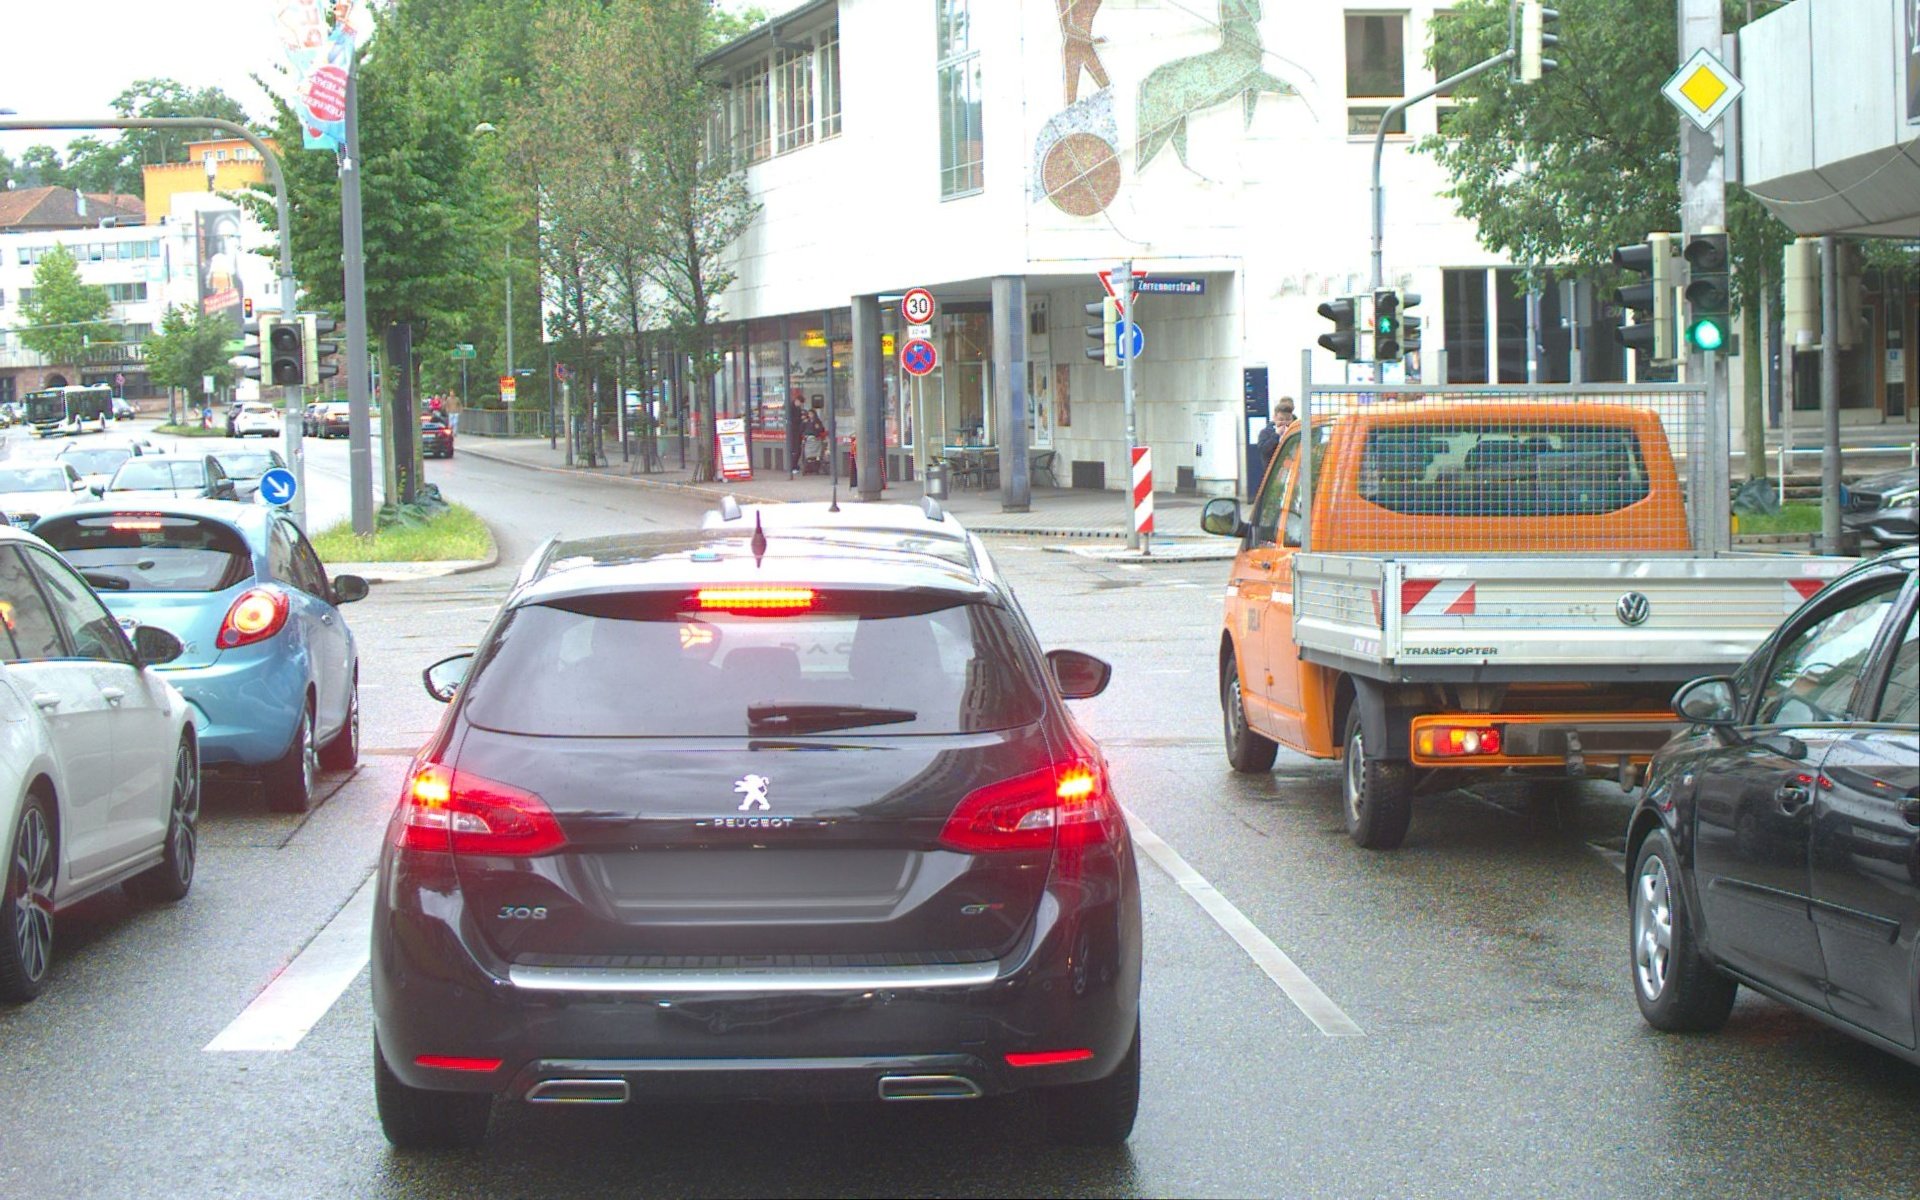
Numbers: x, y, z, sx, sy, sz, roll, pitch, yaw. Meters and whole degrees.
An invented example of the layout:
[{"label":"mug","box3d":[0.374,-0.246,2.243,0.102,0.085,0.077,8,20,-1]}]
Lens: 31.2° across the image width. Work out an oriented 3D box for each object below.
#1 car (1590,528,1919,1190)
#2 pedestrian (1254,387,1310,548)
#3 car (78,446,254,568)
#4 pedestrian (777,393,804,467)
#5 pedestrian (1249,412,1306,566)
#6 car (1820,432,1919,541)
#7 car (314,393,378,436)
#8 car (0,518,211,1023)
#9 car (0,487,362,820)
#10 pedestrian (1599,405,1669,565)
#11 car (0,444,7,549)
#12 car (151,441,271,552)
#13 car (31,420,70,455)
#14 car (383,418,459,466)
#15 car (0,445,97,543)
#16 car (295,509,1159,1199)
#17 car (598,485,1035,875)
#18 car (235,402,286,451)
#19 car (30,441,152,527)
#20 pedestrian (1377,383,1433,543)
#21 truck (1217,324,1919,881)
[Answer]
[{"label":"car","box3d":[2.860,0.558,8.656,1.616,1.424,3.843,0,2,-3]},{"label":"pedestrian","box3d":[3.848,-1.575,41.029,0.637,1.891,0.733,0,0,6]},{"label":"car","box3d":[-11.020,-1.260,47.931,1.744,1.574,4.000,1,0,-4]},{"label":"pedestrian","box3d":[-4.081,-4.096,82.766,0.468,1.742,0.541,1,0,-21]},{"label":"pedestrian","box3d":[3.658,-1.273,39.603,0.637,1.752,0.733,0,0,6]},{"label":"car","box3d":[12.127,-1.306,40.300,3.688,1.208,1.835,1,0,4]},{"label":"car","box3d":[-25.140,-7.590,140.739,1.724,1.485,4.734,1,0,-21]},{"label":"car","box3d":[-3.725,0.453,11.454,1.777,1.424,3.843,0,2,-3]},{"label":"car","box3d":[-4.012,0.190,17.466,1.632,1.481,3.610,0,2,-5]},{"label":"pedestrian","box3d":[7.052,-1.196,35.988,0.637,1.653,0.733,0,0,6]},{"label":"car","box3d":[-14.223,-1.408,47.052,1.574,1.481,3.610,0,2,-4]},{"label":"car","box3d":[-11.871,-1.611,54.663,1.744,1.634,4.001,1,0,-11]},{"label":"car","box3d":[-56.992,-10.186,215.359,1.993,2.007,4.001,1,0,-20]},{"label":"car","box3d":[-17.523,-5.143,111.617,1.787,1.449,4.508,-4,4,-17]},{"label":"car","box3d":[-14.642,-1.688,54.056,1.632,1.481,3.611,0,2,-7]},{"label":"car","box3d":[-0.470,0.490,9.019,1.777,1.424,3.842,1,2,0]},{"label":"car","box3d":[-0.588,0.252,15.305,1.696,1.481,3.794,1,2,-1]},{"label":"car","box3d":[-29.722,-7.345,145.997,1.705,1.875,4.001,1,0,-18]},{"label":"car","box3d":[-15.410,-2.076,61.119,1.632,1.481,3.611,0,2,-7]},{"label":"pedestrian","box3d":[5.339,-1.642,41.276,0.637,1.891,0.733,0,0,6]},{"label":"truck","box3d":[2.585,-0.088,15.964,2.177,2.165,5.021,1,2,-2]}]
